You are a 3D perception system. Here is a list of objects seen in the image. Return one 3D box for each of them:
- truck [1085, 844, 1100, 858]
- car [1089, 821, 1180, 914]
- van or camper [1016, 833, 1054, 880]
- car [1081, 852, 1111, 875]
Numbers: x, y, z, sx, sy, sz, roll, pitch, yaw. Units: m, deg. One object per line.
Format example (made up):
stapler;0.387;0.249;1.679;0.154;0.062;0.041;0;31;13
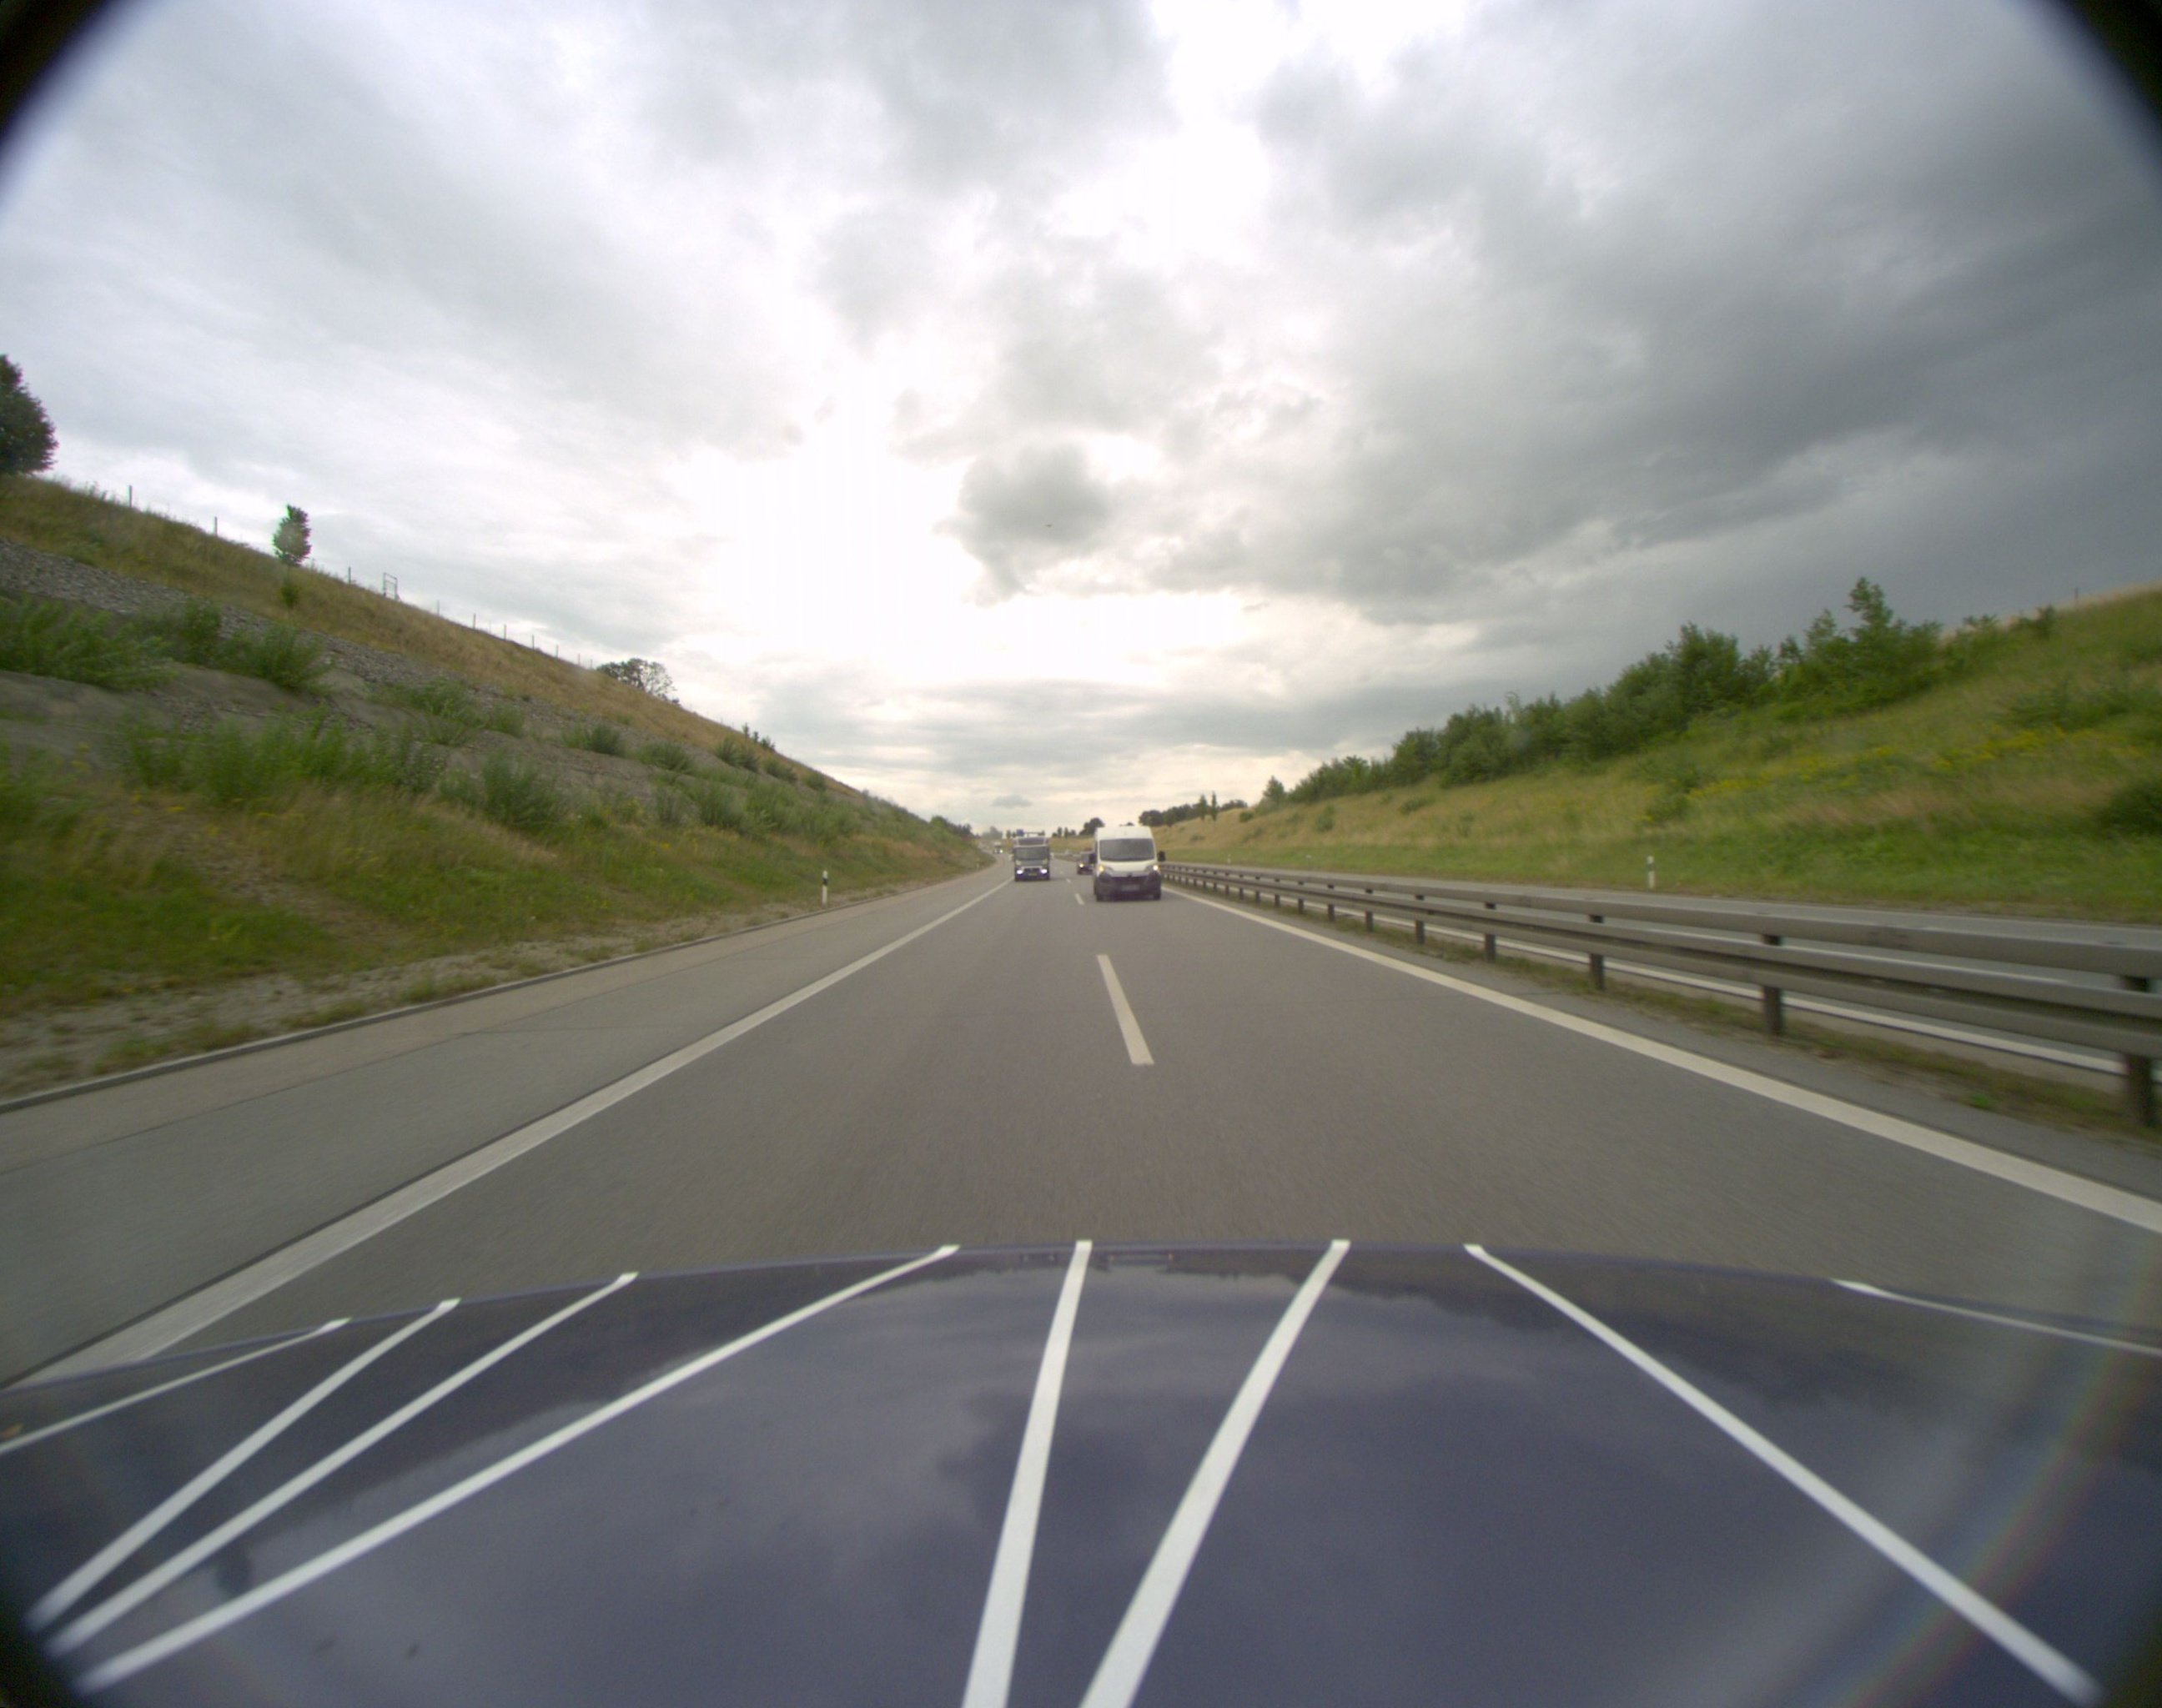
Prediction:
truck;1.898;-0.541;132.733;2.197;2.495;6.551;-1;1;-3
car;1.463;0.329;23.255;2.132;2.412;6.109;-2;1;-1
van or camper;-2.779;0.105;47.465;2.104;2.721;6.900;-1;1;-2
car;0.986;0.628;51.992;1.704;1.432;3.643;-1;1;-5
